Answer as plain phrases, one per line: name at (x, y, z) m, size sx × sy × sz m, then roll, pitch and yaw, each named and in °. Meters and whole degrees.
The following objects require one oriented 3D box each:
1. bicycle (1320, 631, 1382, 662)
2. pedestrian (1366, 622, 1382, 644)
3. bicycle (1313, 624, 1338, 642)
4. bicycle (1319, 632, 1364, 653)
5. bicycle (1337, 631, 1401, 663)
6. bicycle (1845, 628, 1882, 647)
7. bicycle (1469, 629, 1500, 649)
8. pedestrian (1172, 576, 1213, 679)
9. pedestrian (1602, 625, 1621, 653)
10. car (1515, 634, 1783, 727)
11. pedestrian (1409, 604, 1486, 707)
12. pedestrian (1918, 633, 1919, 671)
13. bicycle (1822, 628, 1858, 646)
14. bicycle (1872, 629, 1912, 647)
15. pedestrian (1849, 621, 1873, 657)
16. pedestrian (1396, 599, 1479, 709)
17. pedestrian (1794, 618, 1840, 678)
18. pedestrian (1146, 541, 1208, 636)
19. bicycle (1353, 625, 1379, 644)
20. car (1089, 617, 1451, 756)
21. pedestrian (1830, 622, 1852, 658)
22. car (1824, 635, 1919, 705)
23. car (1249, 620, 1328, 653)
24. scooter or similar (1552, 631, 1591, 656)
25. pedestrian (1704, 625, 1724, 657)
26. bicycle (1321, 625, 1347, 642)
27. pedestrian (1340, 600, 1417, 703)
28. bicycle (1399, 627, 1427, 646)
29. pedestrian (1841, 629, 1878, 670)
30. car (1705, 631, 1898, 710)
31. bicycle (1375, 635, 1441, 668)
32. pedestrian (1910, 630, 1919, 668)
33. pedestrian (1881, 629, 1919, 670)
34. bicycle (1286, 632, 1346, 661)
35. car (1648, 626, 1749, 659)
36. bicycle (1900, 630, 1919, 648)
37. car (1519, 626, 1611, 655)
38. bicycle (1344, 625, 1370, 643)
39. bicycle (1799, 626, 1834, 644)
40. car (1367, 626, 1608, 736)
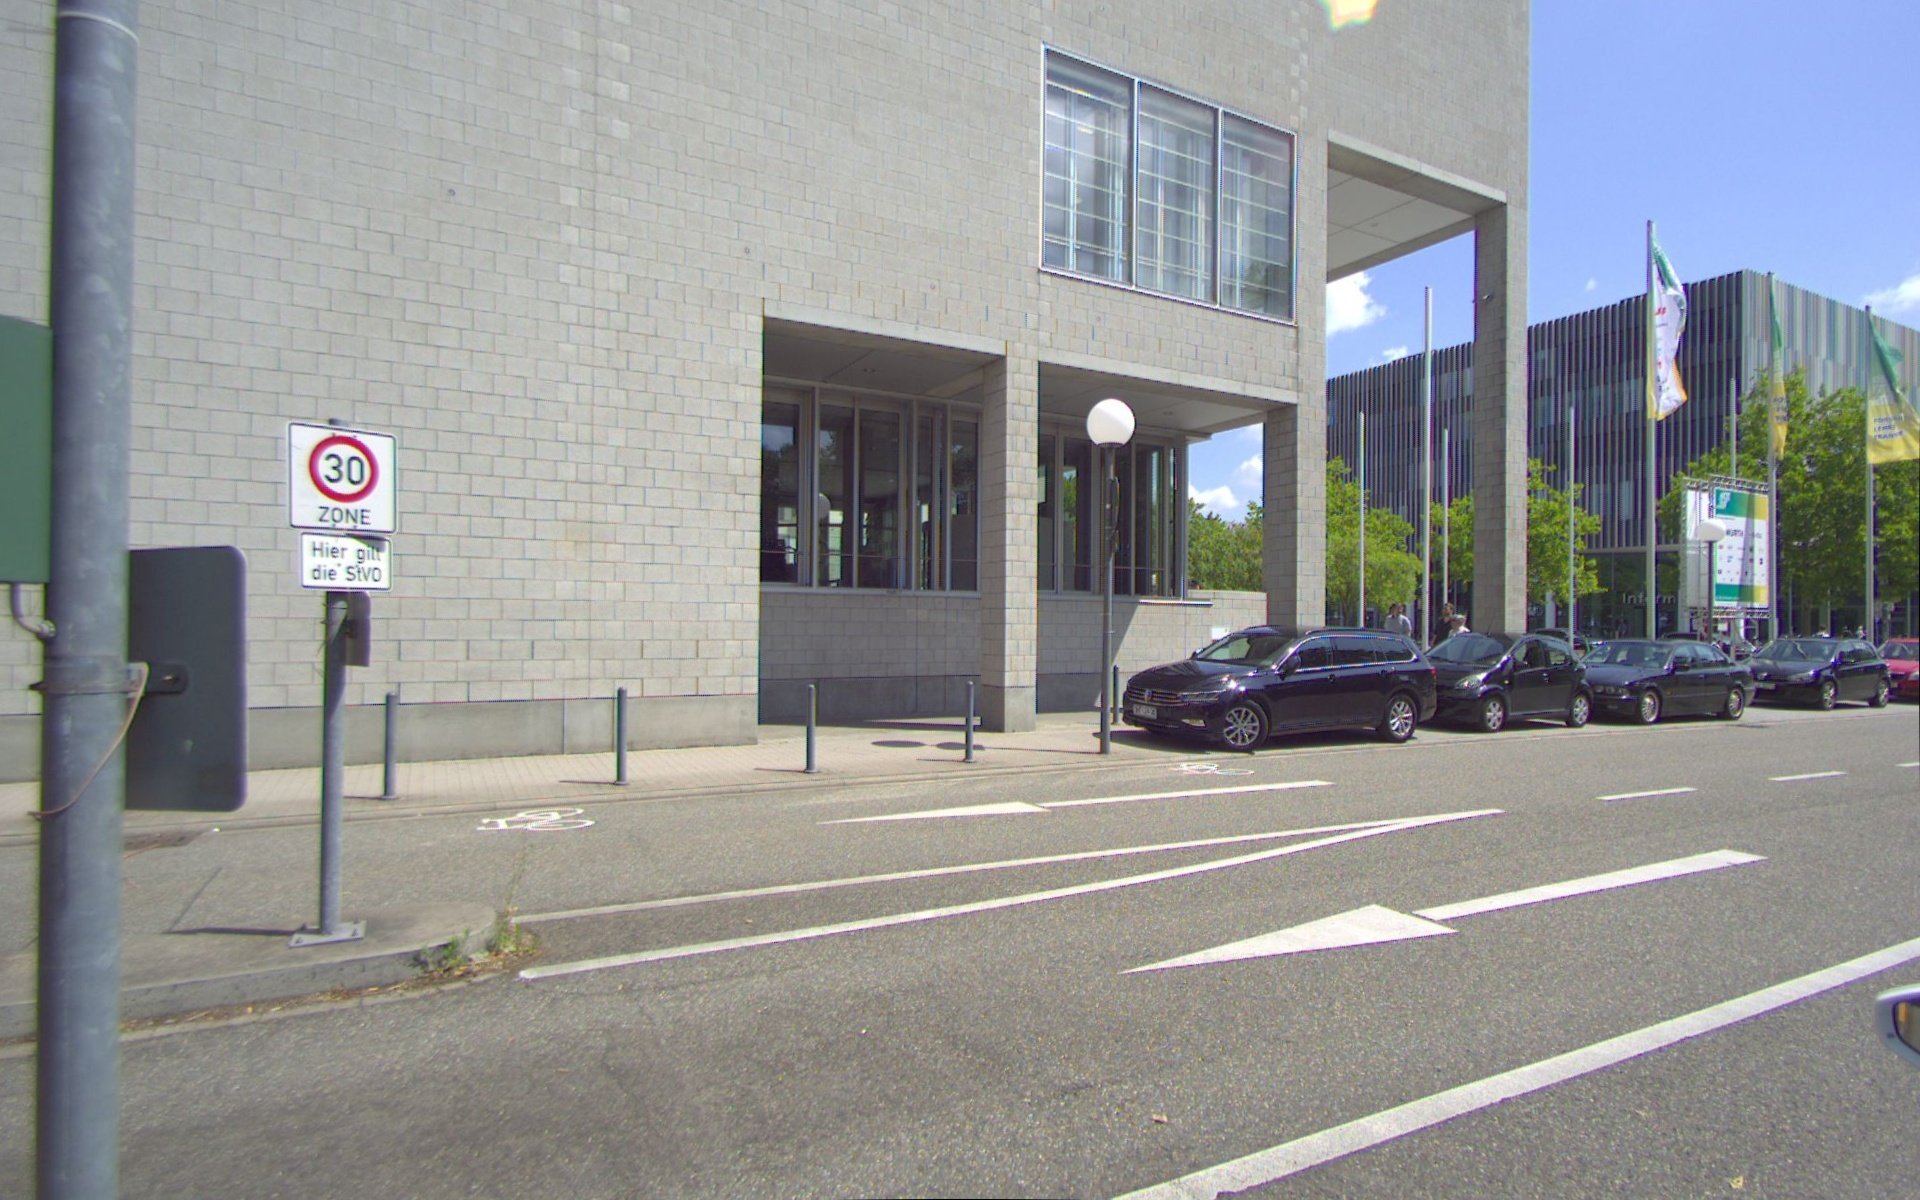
bicycle at (18.754, 2.219, 48.193) m, size 2.910 × 1.430 × 1.011 m, roll 2°, pitch -1°, yaw -24°
pedestrian at (40.711, 3.241, 98.773) m, size 1.114 × 2.205 × 0.968 m, roll 2°, pitch 0°, yaw -29°
bicycle at (40.298, 3.646, 110.740) m, size 2.915 × 1.863 × 0.955 m, roll 2°, pitch -1°, yaw -29°
bicycle at (21.498, 2.397, 56.598) m, size 2.924 × 1.165 × 0.990 m, roll 2°, pitch -1°, yaw -37°
bicycle at (19.193, 2.187, 47.118) m, size 2.910 × 1.430 × 1.011 m, roll 2°, pitch -1°, yaw -24°
bicycle at (64.616, 2.664, 71.858) m, size 1.178 × 1.253 × 2.948 m, roll 1°, pitch -1°, yaw 26°
bicycle at (48.875, 3.637, 93.576) m, size 2.912 × 1.863 × 0.956 m, roll 2°, pitch -1°, yaw -26°
pedestrian at (5.653, 0.656, 24.422) m, size 0.747 × 2.454 × 0.736 m, roll 0°, pitch -1°, yaw 35°
pedestrian at (56.451, 3.367, 87.024) m, size 1.002 × 2.377 × 0.968 m, roll 2°, pitch 0°, yaw -29°
car at (12.466, 1.384, 18.113) m, size 4.952 × 1.396 × 1.852 m, roll 2°, pitch 1°, yaw -28°
pedestrian at (10.014, 1.108, 20.642) m, size 1.152 × 2.040 × 0.978 m, roll 1°, pitch -1°, yaw -33°
pedestrian at (41.589, 2.225, 42.914) m, size 0.788 × 1.619 × 0.768 m, roll 1°, pitch -1°, yaw -27°
bicycle at (63.429, 2.634, 72.421) m, size 1.178 × 1.253 × 2.949 m, roll 1°, pitch -1°, yaw 25°
bicycle at (66.475, 2.698, 71.686) m, size 1.178 × 1.253 × 2.949 m, roll 1°, pitch -1°, yaw 24°
pedestrian at (66.331, 2.834, 73.995) m, size 0.956 × 2.599 × 1.015 m, roll 1°, pitch 0°, yaw 19°
pedestrian at (9.185, 1.017, 19.324) m, size 1.152 × 2.040 × 0.978 m, roll 1°, pitch -1°, yaw -33°
pedestrian at (27.405, 1.525, 32.140) m, size 1.074 × 1.875 × 0.717 m, roll 1°, pitch 0°, yaw -25°
pedestrian at (4.803, -0.237, 22.297) m, size 0.899 × 2.040 × 0.973 m, roll 2°, pitch 0°, yaw -29°
bicycle at (42.828, 3.647, 105.995) m, size 2.915 × 1.863 × 0.955 m, roll 2°, pitch -1°, yaw -29°
car at (4.144, 1.040, 13.229) m, size 4.662 × 1.487 × 1.851 m, roll 1°, pitch 1°, yaw -29°
pedestrian at (65.090, 2.928, 74.234) m, size 0.957 × 2.599 × 1.014 m, roll 1°, pitch 0°, yaw 25°
car at (22.805, 1.648, 24.246) m, size 3.862 × 1.487 × 1.669 m, roll 1°, pitch 1°, yaw -29°
car at (20.609, 2.271, 63.206) m, size 1.844 × 1.965 × 4.738 m, roll 1°, pitch -1°, yaw -30°
scooter or similar at (30.752, 2.171, 50.539) m, size 0.486 × 1.212 × 1.725 m, roll 1°, pitch -1°, yaw -22°
pedestrian at (62.299, 3.423, 82.956) m, size 1.002 × 2.599 × 0.968 m, roll 2°, pitch 0°, yaw -29°
bicycle at (40.861, 3.646, 109.698) m, size 2.915 × 1.863 × 0.955 m, roll 2°, pitch -1°, yaw -29°
pedestrian at (8.603, 1.047, 20.640) m, size 1.152 × 2.040 × 0.978 m, roll 1°, pitch -1°, yaw -33°
bicycle at (45.415, 3.644, 100.751) m, size 2.915 × 1.863 × 0.955 m, roll 2°, pitch -1°, yaw -29°
pedestrian at (42.252, 2.332, 47.208) m, size 0.987 × 1.901 × 0.855 m, roll 1°, pitch -1°, yaw -6°
car at (18.272, 1.485, 21.787) m, size 4.143 × 1.487 × 1.741 m, roll 1°, pitch 1°, yaw -28°
bicycle at (20.105, 2.322, 45.068) m, size 2.910 × 1.438 × 1.011 m, roll 2°, pitch -1°, yaw -24°
pedestrian at (43.592, 2.211, 45.247) m, size 0.847 × 1.676 × 0.825 m, roll 0°, pitch -1°, yaw -16°
pedestrian at (43.294, 2.261, 46.215) m, size 1.075 × 1.843 × 0.863 m, roll 1°, pitch -1°, yaw -5°
bicycle at (17.816, 2.330, 50.284) m, size 2.910 × 1.430 × 1.059 m, roll 2°, pitch -1°, yaw -24°
car at (41.039, 2.331, 55.936) m, size 1.632 × 1.683 × 4.266 m, roll 0°, pitch -1°, yaw -27°
bicycle at (67.775, 2.743, 70.896) m, size 1.178 × 1.253 × 2.949 m, roll 1°, pitch -1°, yaw 24°
car at (37.546, 2.490, 62.438) m, size 1.632 × 1.683 × 4.792 m, roll 1°, pitch -1°, yaw -27°
bicycle at (42.306, 3.648, 107.035) m, size 2.915 × 1.863 × 0.955 m, roll 2°, pitch -1°, yaw -29°
bicycle at (62.046, 2.549, 72.799) m, size 1.178 × 1.253 × 2.948 m, roll 1°, pitch -1°, yaw 26°
car at (8.353, 1.208, 15.873) m, size 3.662 × 1.487 × 1.631 m, roll 1°, pitch 1°, yaw -29°
